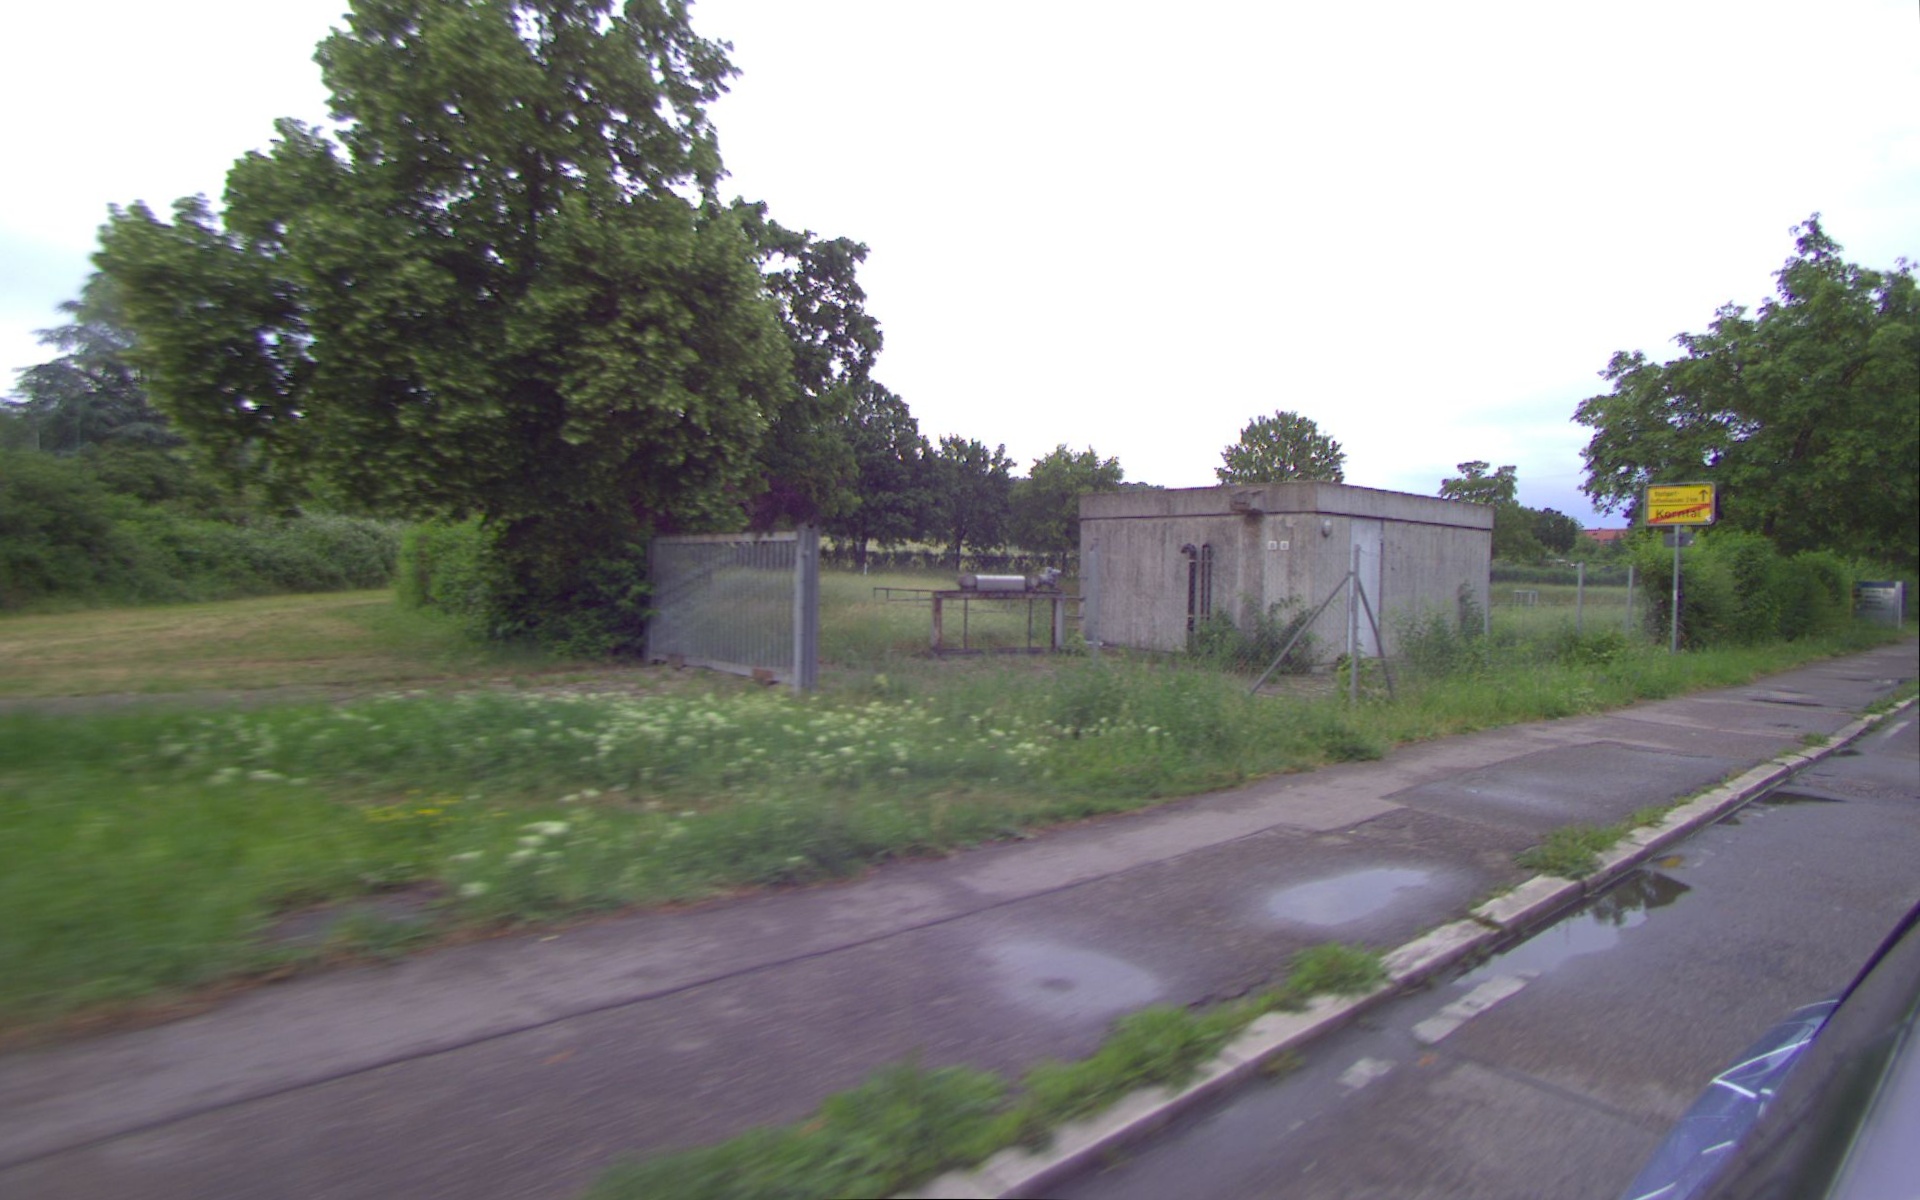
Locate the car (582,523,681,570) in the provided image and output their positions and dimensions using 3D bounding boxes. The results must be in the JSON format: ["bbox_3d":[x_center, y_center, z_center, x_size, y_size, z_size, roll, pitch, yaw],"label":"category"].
[{"bbox_3d":[-12.857,-2.082,39.706,3.319,1.642,1.629,-2,0,4],"label":"car"}]
